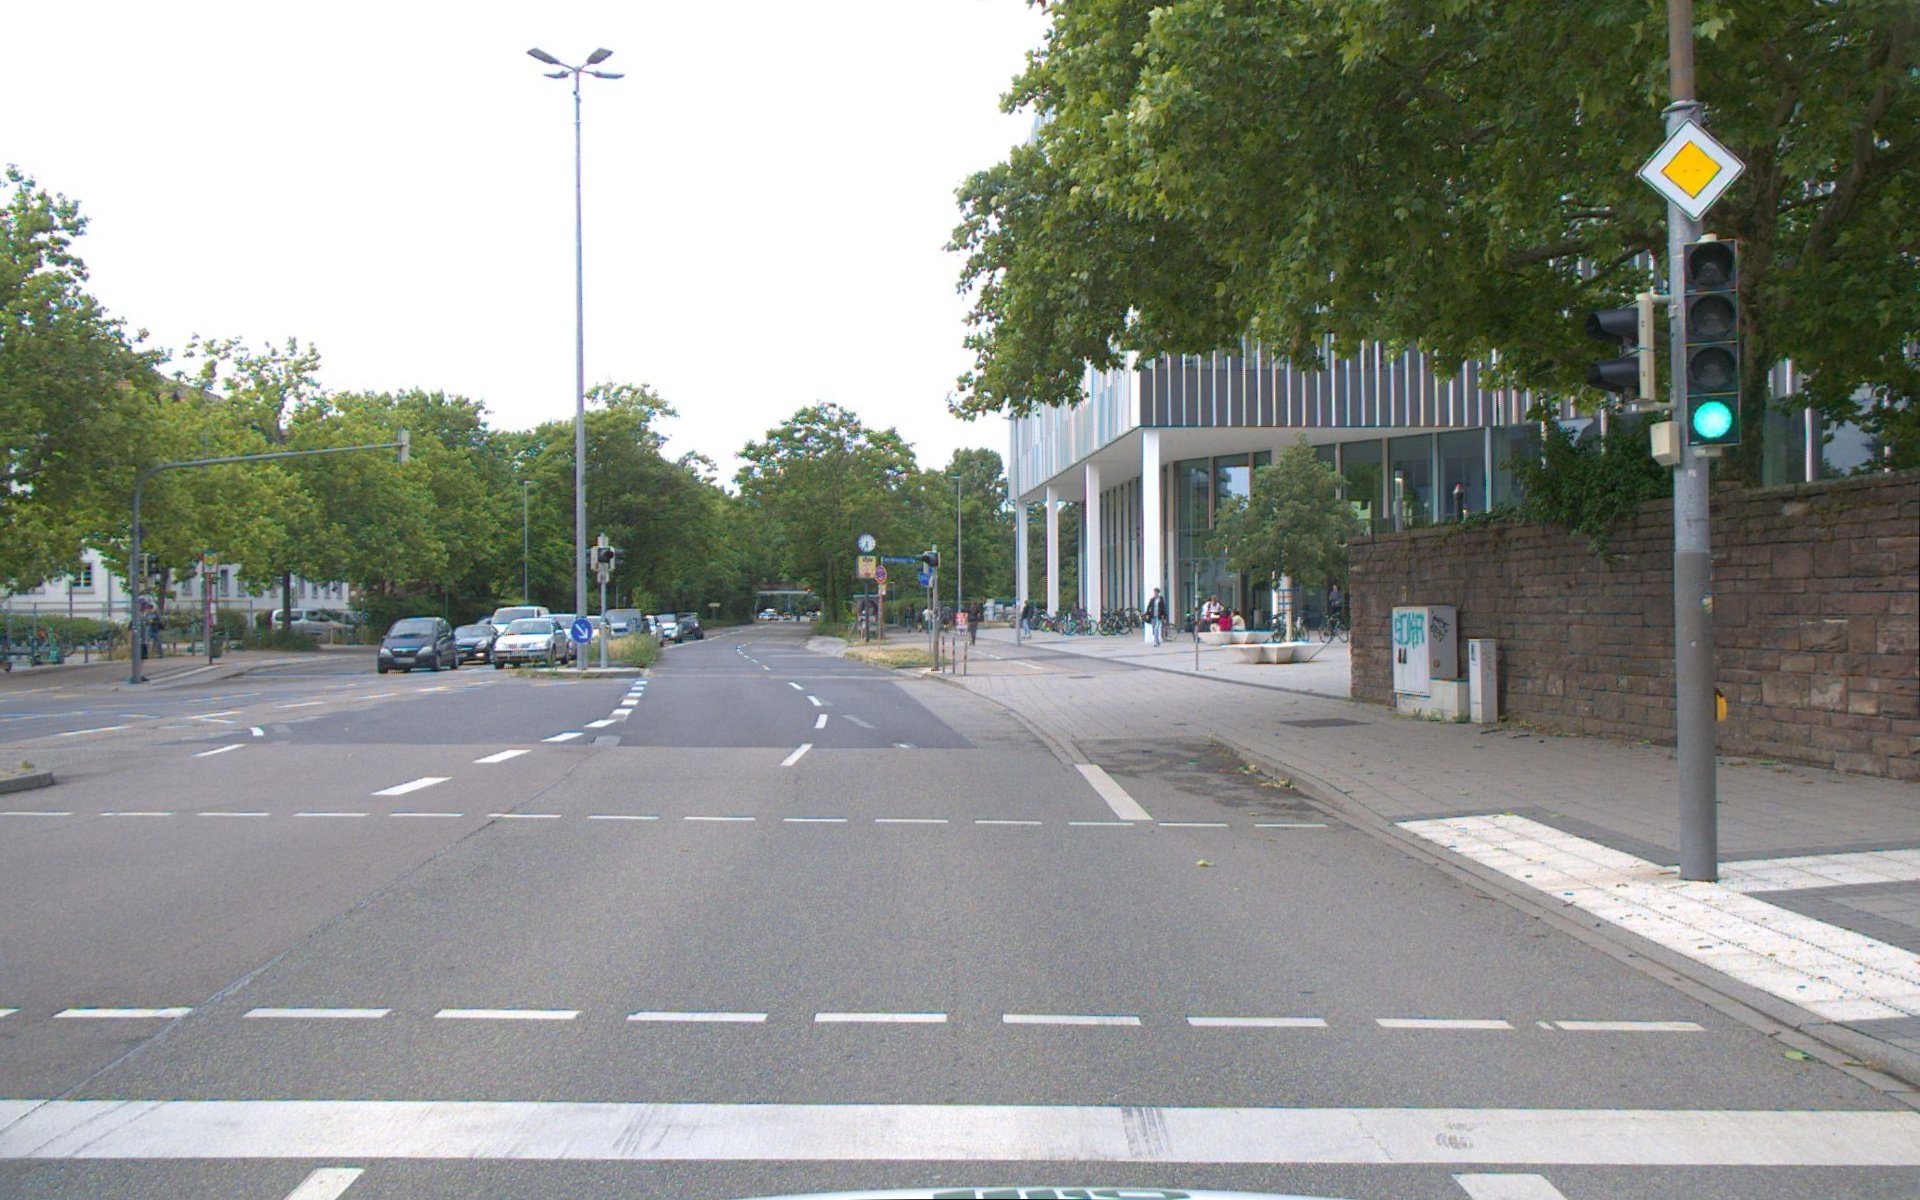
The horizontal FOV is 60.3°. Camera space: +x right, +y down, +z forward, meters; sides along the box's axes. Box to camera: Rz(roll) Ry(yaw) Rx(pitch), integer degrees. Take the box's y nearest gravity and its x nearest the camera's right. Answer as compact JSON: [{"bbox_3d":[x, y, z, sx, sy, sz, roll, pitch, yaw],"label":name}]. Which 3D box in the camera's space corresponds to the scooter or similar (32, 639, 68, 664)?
[{"bbox_3d":[-27.277,1.536,49.598,0.398,0.706,1.288,1,0,-2],"label":"scooter or similar"}]

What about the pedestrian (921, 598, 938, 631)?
[{"bbox_3d":[-1.965,0.907,105.161,0.908,2.049,1.037,-1,-1,-9],"label":"pedestrian"}]

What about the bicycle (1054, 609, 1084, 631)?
[{"bbox_3d":[5.483,1.000,83.155,1.373,1.062,0.558,-3,0,-4],"label":"bicycle"}]

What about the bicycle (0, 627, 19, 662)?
[{"bbox_3d":[-33.149,1.533,56.131,2.002,1.173,0.716,-1,-1,-23],"label":"bicycle"}]

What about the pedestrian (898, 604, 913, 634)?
[{"bbox_3d":[-3.739,1.288,113.791,0.908,2.049,1.037,-1,-1,-9],"label":"pedestrian"}]

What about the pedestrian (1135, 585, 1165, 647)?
[{"bbox_3d":[6.322,0.529,55.106,0.826,2.049,0.894,-1,-1,-3],"label":"pedestrian"}]

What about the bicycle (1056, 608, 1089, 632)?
[{"bbox_3d":[5.817,1.034,85.342,1.610,1.110,0.572,-4,-1,4],"label":"bicycle"}]

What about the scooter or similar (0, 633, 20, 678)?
[{"bbox_3d":[-25.357,1.477,43.723,0.353,1.160,1.318,-1,0,-4],"label":"scooter or similar"}]

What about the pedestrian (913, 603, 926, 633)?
[{"bbox_3d":[-2.802,1.263,113.807,0.809,2.049,0.718,-1,-1,-9],"label":"pedestrian"}]

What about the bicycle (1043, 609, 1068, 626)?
[{"bbox_3d":[5.198,0.967,90.101,1.258,0.890,0.556,-2,0,-4],"label":"bicycle"}]

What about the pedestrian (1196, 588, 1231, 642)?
[{"bbox_3d":[8.981,0.524,58.582,0.835,1.868,0.883,-1,-1,-35],"label":"pedestrian"}]

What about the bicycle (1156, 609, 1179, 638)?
[{"bbox_3d":[8.112,0.909,64.679,0.625,1.080,1.840,1,0,0],"label":"bicycle"}]

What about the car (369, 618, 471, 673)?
[{"bbox_3d":[-15.802,1.307,48.599,1.815,1.489,3.696,-1,0,-1],"label":"car"}]

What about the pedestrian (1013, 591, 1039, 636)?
[{"bbox_3d":[3.032,0.628,76.060,0.878,2.049,0.841,-1,-1,41],"label":"pedestrian"}]

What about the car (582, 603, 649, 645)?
[{"bbox_3d":[-14.743,1.018,71.068,1.953,1.717,4.946,1,0,-2],"label":"car"}]

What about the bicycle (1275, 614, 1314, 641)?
[{"bbox_3d":[11.928,0.985,58.915,0.659,0.914,1.839,-1,0,36],"label":"bicycle"}]

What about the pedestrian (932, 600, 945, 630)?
[{"bbox_3d":[-1.463,1.062,114.495,0.808,2.049,0.719,-1,-1,-6],"label":"pedestrian"}]

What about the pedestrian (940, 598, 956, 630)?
[{"bbox_3d":[-0.774,0.895,105.310,0.908,2.049,1.038,-1,-1,-7],"label":"pedestrian"}]

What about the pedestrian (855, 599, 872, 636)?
[{"bbox_3d":[-5.531,1.016,94.647,0.895,2.048,0.853,-3,2,-6],"label":"pedestrian"}]

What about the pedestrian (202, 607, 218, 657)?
[{"bbox_3d":[-26.455,1.124,58.349,0.412,1.769,0.433,1,-1,-11],"label":"pedestrian"}]

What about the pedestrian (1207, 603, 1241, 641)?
[{"bbox_3d":[8.659,0.733,54.243,0.826,1.227,0.893,-1,-1,29],"label":"pedestrian"}]

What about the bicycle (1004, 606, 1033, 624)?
[{"bbox_3d":[3.754,0.969,106.639,1.760,1.100,0.625,-3,0,-7],"label":"bicycle"}]

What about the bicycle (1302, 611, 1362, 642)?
[{"bbox_3d":[12.828,0.897,57.009,2.166,1.023,0.772,-1,-1,-35],"label":"bicycle"}]

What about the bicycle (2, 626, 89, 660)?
[{"bbox_3d":[-33.867,1.587,61.275,2.695,1.195,0.720,-1,-1,-9],"label":"bicycle"}]

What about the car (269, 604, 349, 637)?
[{"bbox_3d":[-33.655,1.040,85.585,3.517,1.630,1.649,1,-1,-7],"label":"car"}]

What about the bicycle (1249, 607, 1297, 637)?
[{"bbox_3d":[11.267,0.780,59.448,0.761,1.019,1.947,-2,0,43],"label":"bicycle"}]

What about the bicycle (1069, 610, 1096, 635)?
[{"bbox_3d":[5.681,1.044,76.811,0.598,1.099,1.954,-3,0,-16],"label":"bicycle"}]

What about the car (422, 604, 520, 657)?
[{"bbox_3d":[-16.240,0.985,55.116,1.952,1.648,4.001,-1,0,2],"label":"car"}]

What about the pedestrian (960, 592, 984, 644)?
[{"bbox_3d":[0.476,0.737,67.762,0.826,2.049,0.894,-3,0,-3],"label":"pedestrian"}]

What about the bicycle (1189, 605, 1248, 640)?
[{"bbox_3d":[9.593,0.823,61.250,0.761,1.208,2.702,-2,0,43],"label":"bicycle"}]

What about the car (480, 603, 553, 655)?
[{"bbox_3d":[-17.060,1.093,63.804,1.736,1.880,4.486,1,0,-3],"label":"car"}]

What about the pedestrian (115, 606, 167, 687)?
[{"bbox_3d":[-21.108,1.176,42.628,0.877,2.049,1.008,-1,-1,-7],"label":"pedestrian"}]

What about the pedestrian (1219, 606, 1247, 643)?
[{"bbox_3d":[9.051,0.805,54.876,0.872,1.214,0.846,-1,-1,9],"label":"pedestrian"}]

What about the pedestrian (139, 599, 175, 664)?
[{"bbox_3d":[-25.625,0.990,52.815,0.787,2.049,0.923,1,-1,-11],"label":"pedestrian"}]

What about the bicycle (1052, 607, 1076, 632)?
[{"bbox_3d":[4.982,0.947,79.513,0.624,1.160,2.196,-4,0,-9],"label":"bicycle"}]

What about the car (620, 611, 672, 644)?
[{"bbox_3d":[-14.824,1.286,78.319,1.866,1.491,4.906,1,0,-5],"label":"car"}]

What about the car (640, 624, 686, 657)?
[{"bbox_3d":[-15.871,2.151,88.475,1.955,1.574,4.175,-2,0,-5],"label":"car"}]

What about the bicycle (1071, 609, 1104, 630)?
[{"bbox_3d":[6.361,0.955,82.314,1.572,0.952,0.569,-3,0,6],"label":"bicycle"}]

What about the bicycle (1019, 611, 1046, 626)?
[{"bbox_3d":[4.478,1.139,102.127,1.575,0.890,0.556,-2,0,-4],"label":"bicycle"}]

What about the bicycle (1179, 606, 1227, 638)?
[{"bbox_3d":[9.221,0.833,62.623,0.723,1.135,2.170,-2,0,42],"label":"bicycle"}]

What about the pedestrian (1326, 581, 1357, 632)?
[{"bbox_3d":[16.194,0.278,70.216,1.157,2.098,1.135,1,-1,20],"label":"pedestrian"}]

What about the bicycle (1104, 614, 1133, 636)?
[{"bbox_3d":[7.185,1.128,74.936,1.477,0.945,0.433,-2,1,-44],"label":"bicycle"}]

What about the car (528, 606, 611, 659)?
[{"bbox_3d":[-13.375,1.094,56.876,1.918,1.611,4.254,-3,0,-2],"label":"car"}]

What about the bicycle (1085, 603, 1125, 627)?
[{"bbox_3d":[7.508,0.782,85.573,1.948,1.164,0.646,-3,0,37],"label":"bicycle"}]

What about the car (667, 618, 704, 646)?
[{"bbox_3d":[-17.040,1.988,102.896,1.866,1.621,4.512,-1,0,-5],"label":"car"}]

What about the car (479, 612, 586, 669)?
[{"bbox_3d":[-12.671,1.166,49.301,1.952,1.556,4.275,-1,0,2],"label":"car"}]

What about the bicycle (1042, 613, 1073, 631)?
[{"bbox_3d":[5.138,1.173,87.189,1.575,0.890,0.556,-1,-1,-4],"label":"bicycle"}]
